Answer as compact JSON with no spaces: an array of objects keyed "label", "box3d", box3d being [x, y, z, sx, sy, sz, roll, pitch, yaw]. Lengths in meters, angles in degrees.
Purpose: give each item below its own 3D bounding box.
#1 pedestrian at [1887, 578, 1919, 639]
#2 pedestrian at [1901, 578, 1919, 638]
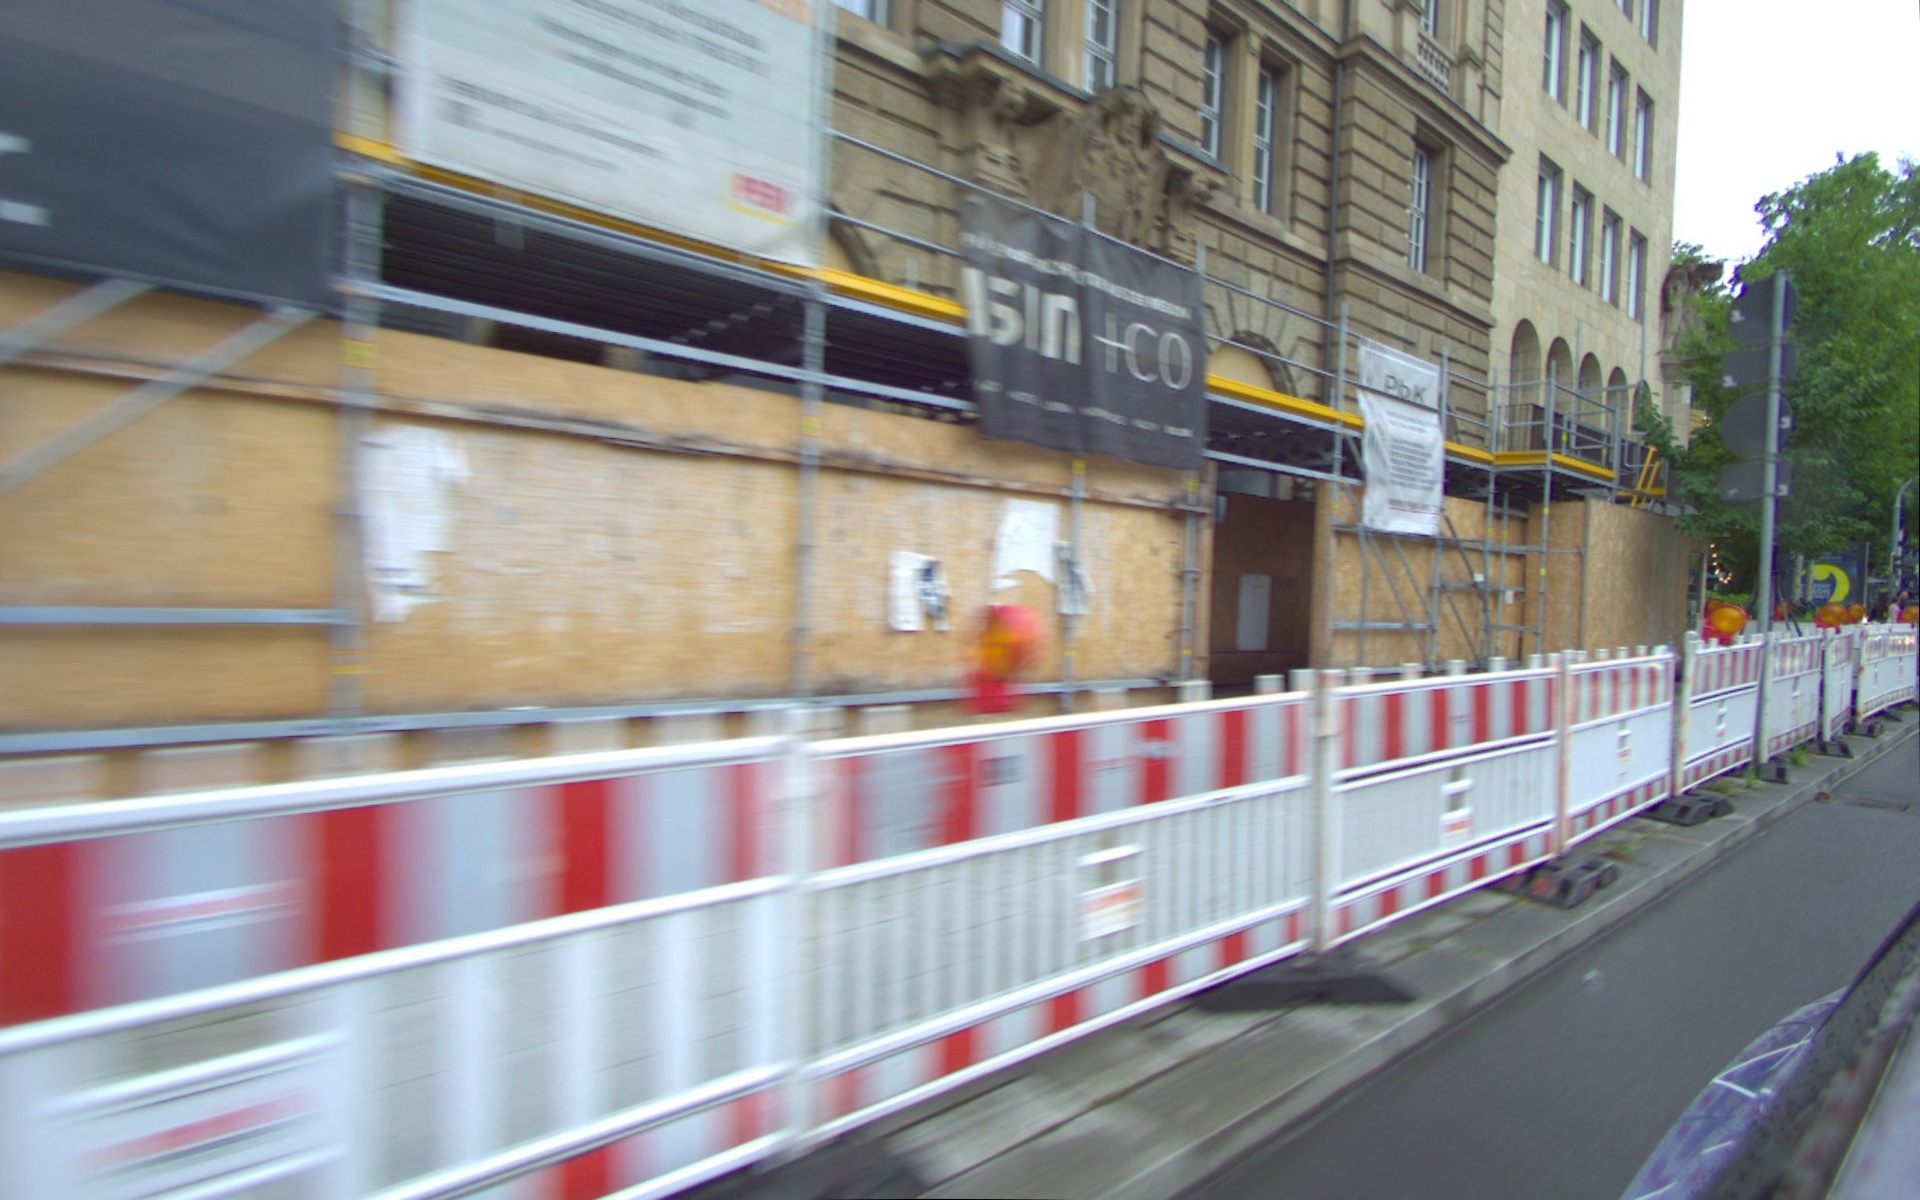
[{"label":"pedestrian","box3d":[29.282,0.261,31.366,0.585,1.857,0.624,2,2,23]},{"label":"pedestrian","box3d":[30.065,0.258,31.772,0.552,1.857,0.634,0,2,-36]}]
